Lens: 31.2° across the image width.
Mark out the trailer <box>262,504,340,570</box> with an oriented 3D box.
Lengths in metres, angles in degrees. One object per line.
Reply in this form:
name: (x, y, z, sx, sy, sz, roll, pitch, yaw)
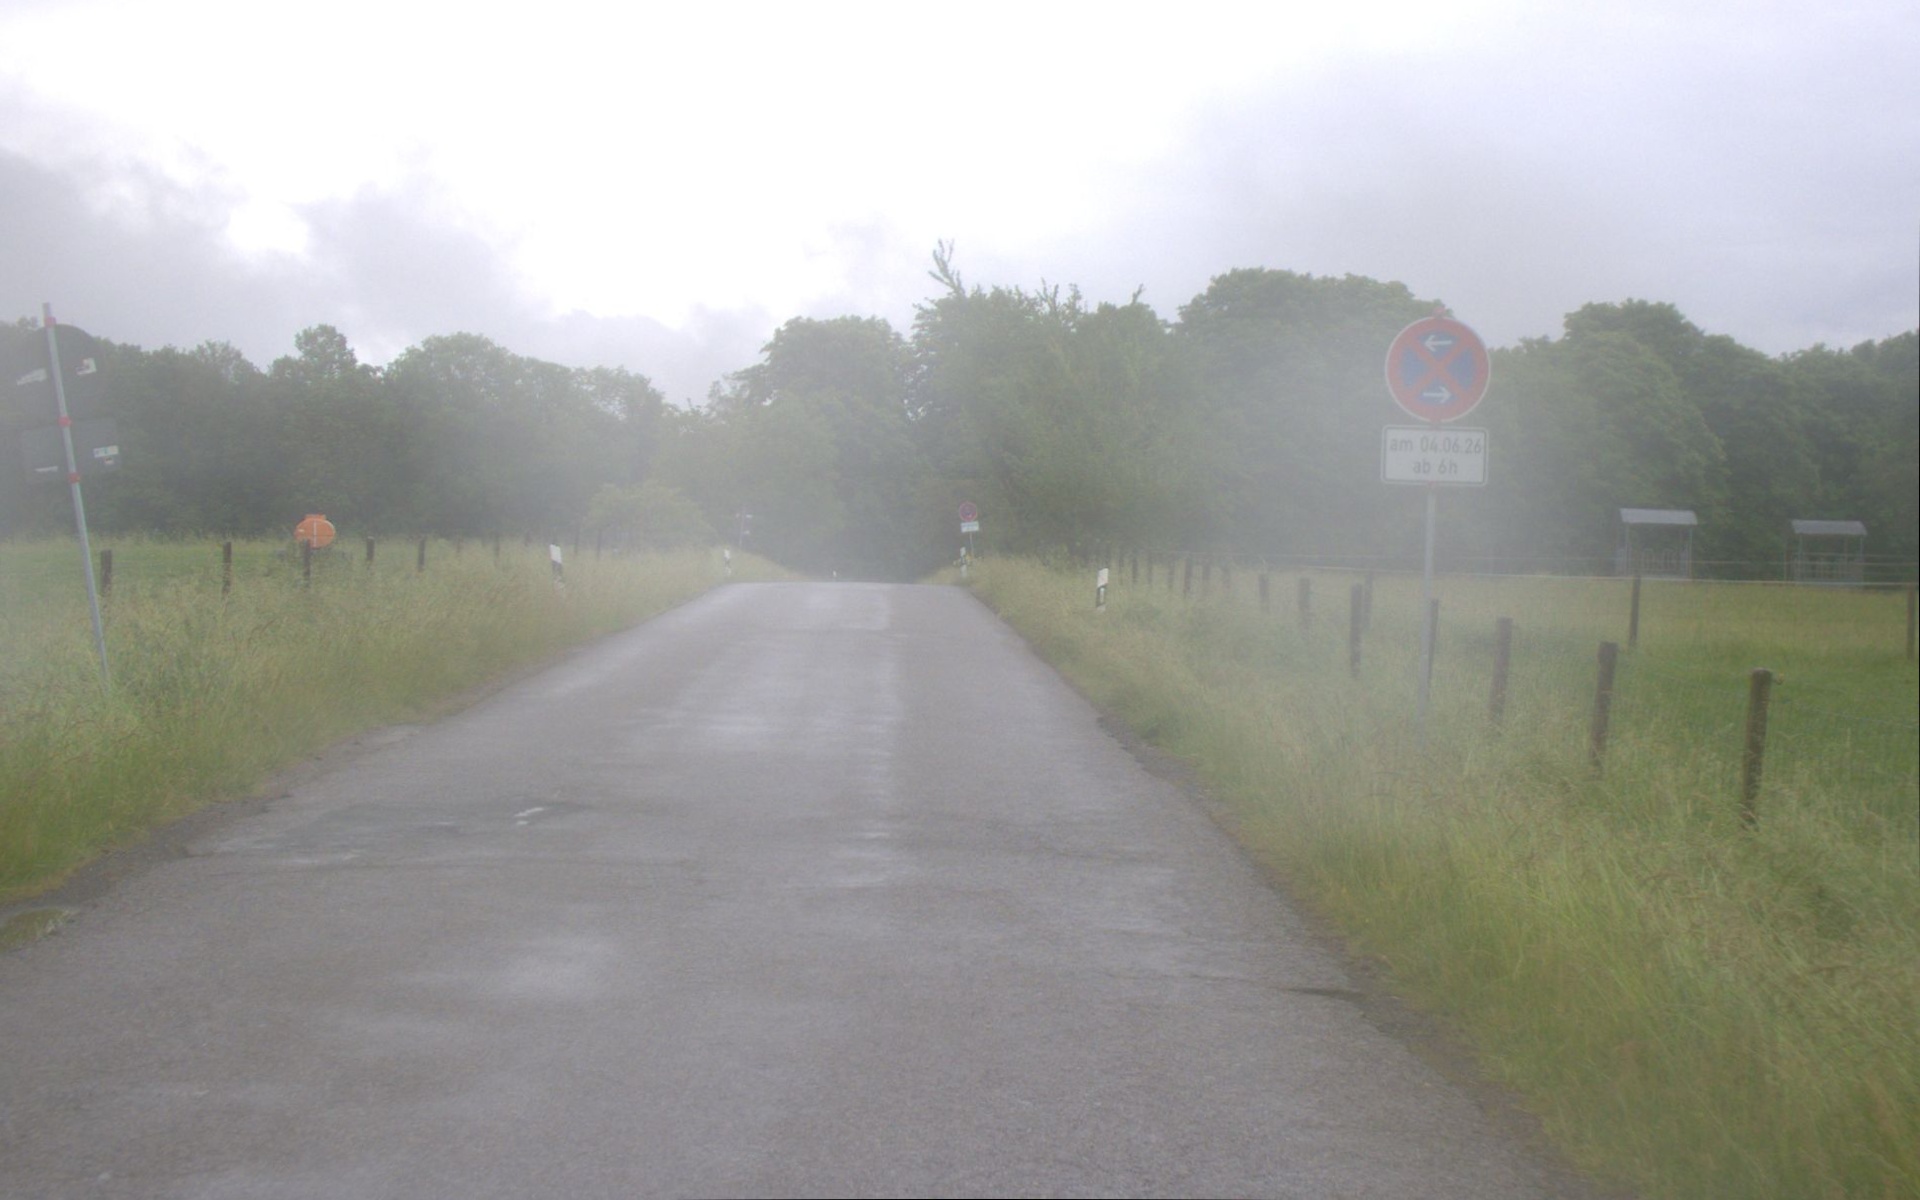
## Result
trailer: (-15.673, -1.512, 81.638, 1.751, 1.499, 3.091, 1, 1, -12)
